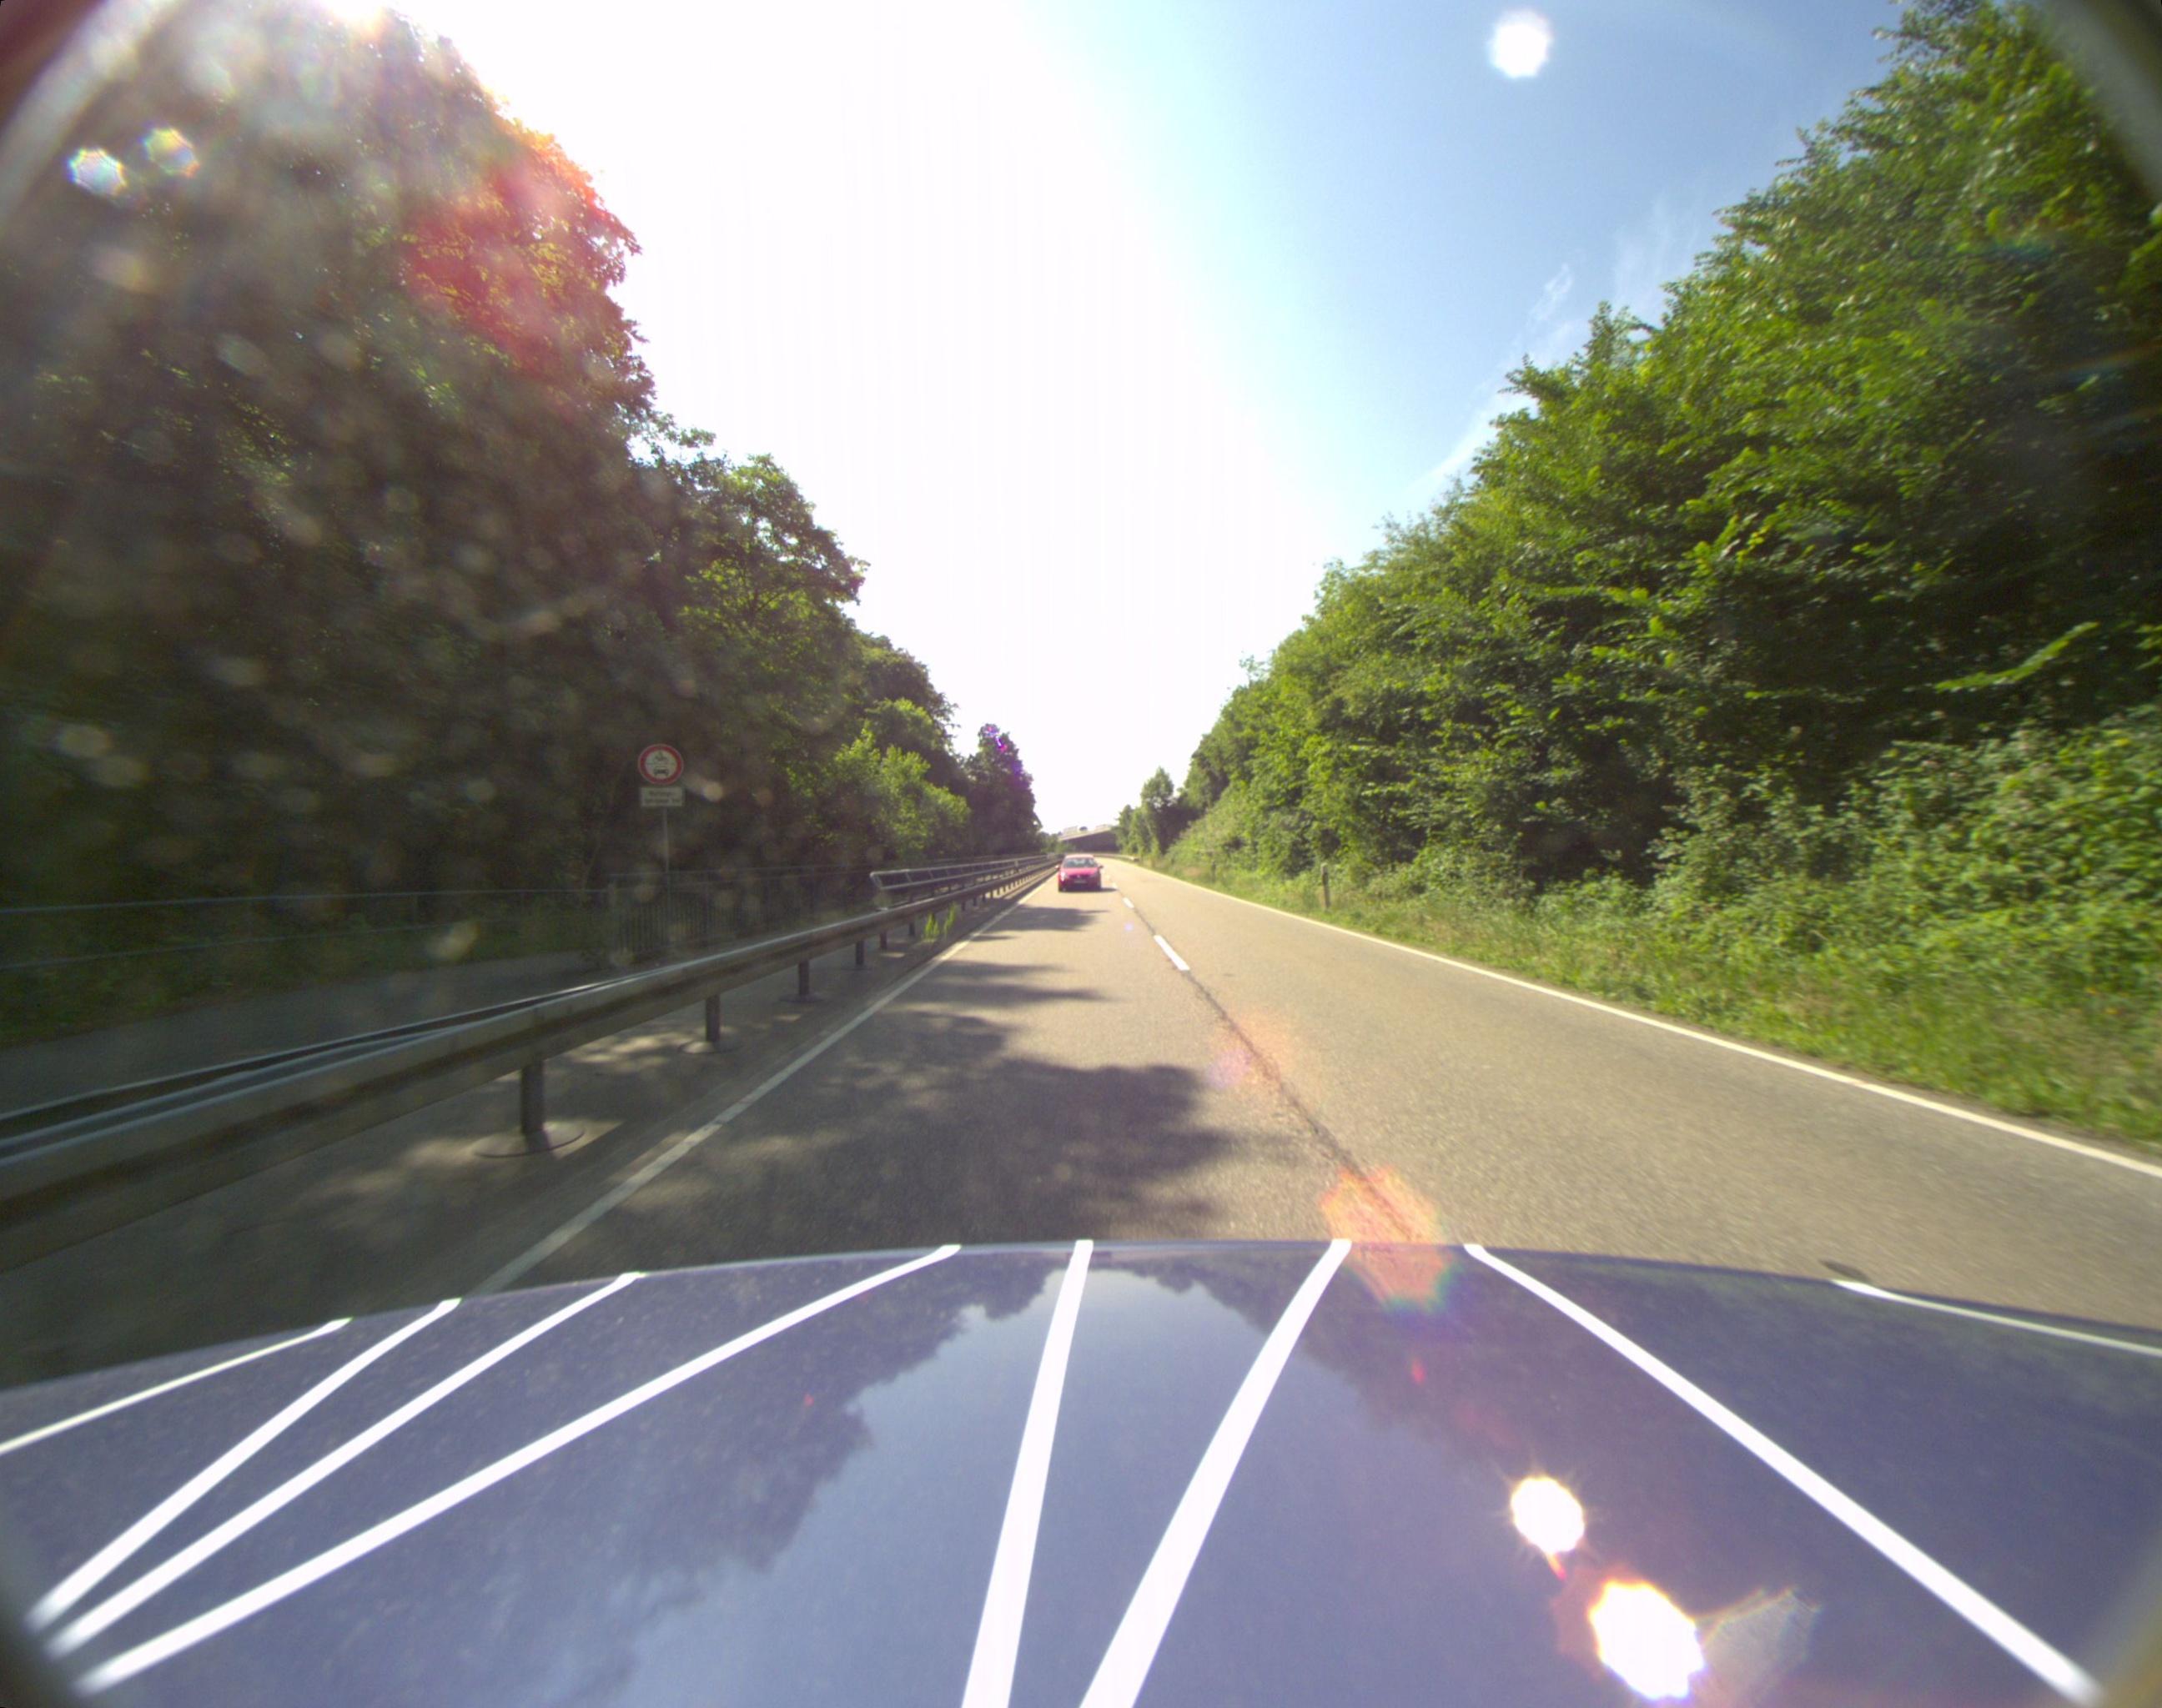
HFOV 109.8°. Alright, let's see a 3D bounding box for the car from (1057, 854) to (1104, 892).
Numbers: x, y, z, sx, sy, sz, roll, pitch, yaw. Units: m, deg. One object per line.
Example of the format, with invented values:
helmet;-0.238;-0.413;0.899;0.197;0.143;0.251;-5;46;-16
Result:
car;0.036;0.756;32.232;1.816;1.488;4.286;-1;0;1
